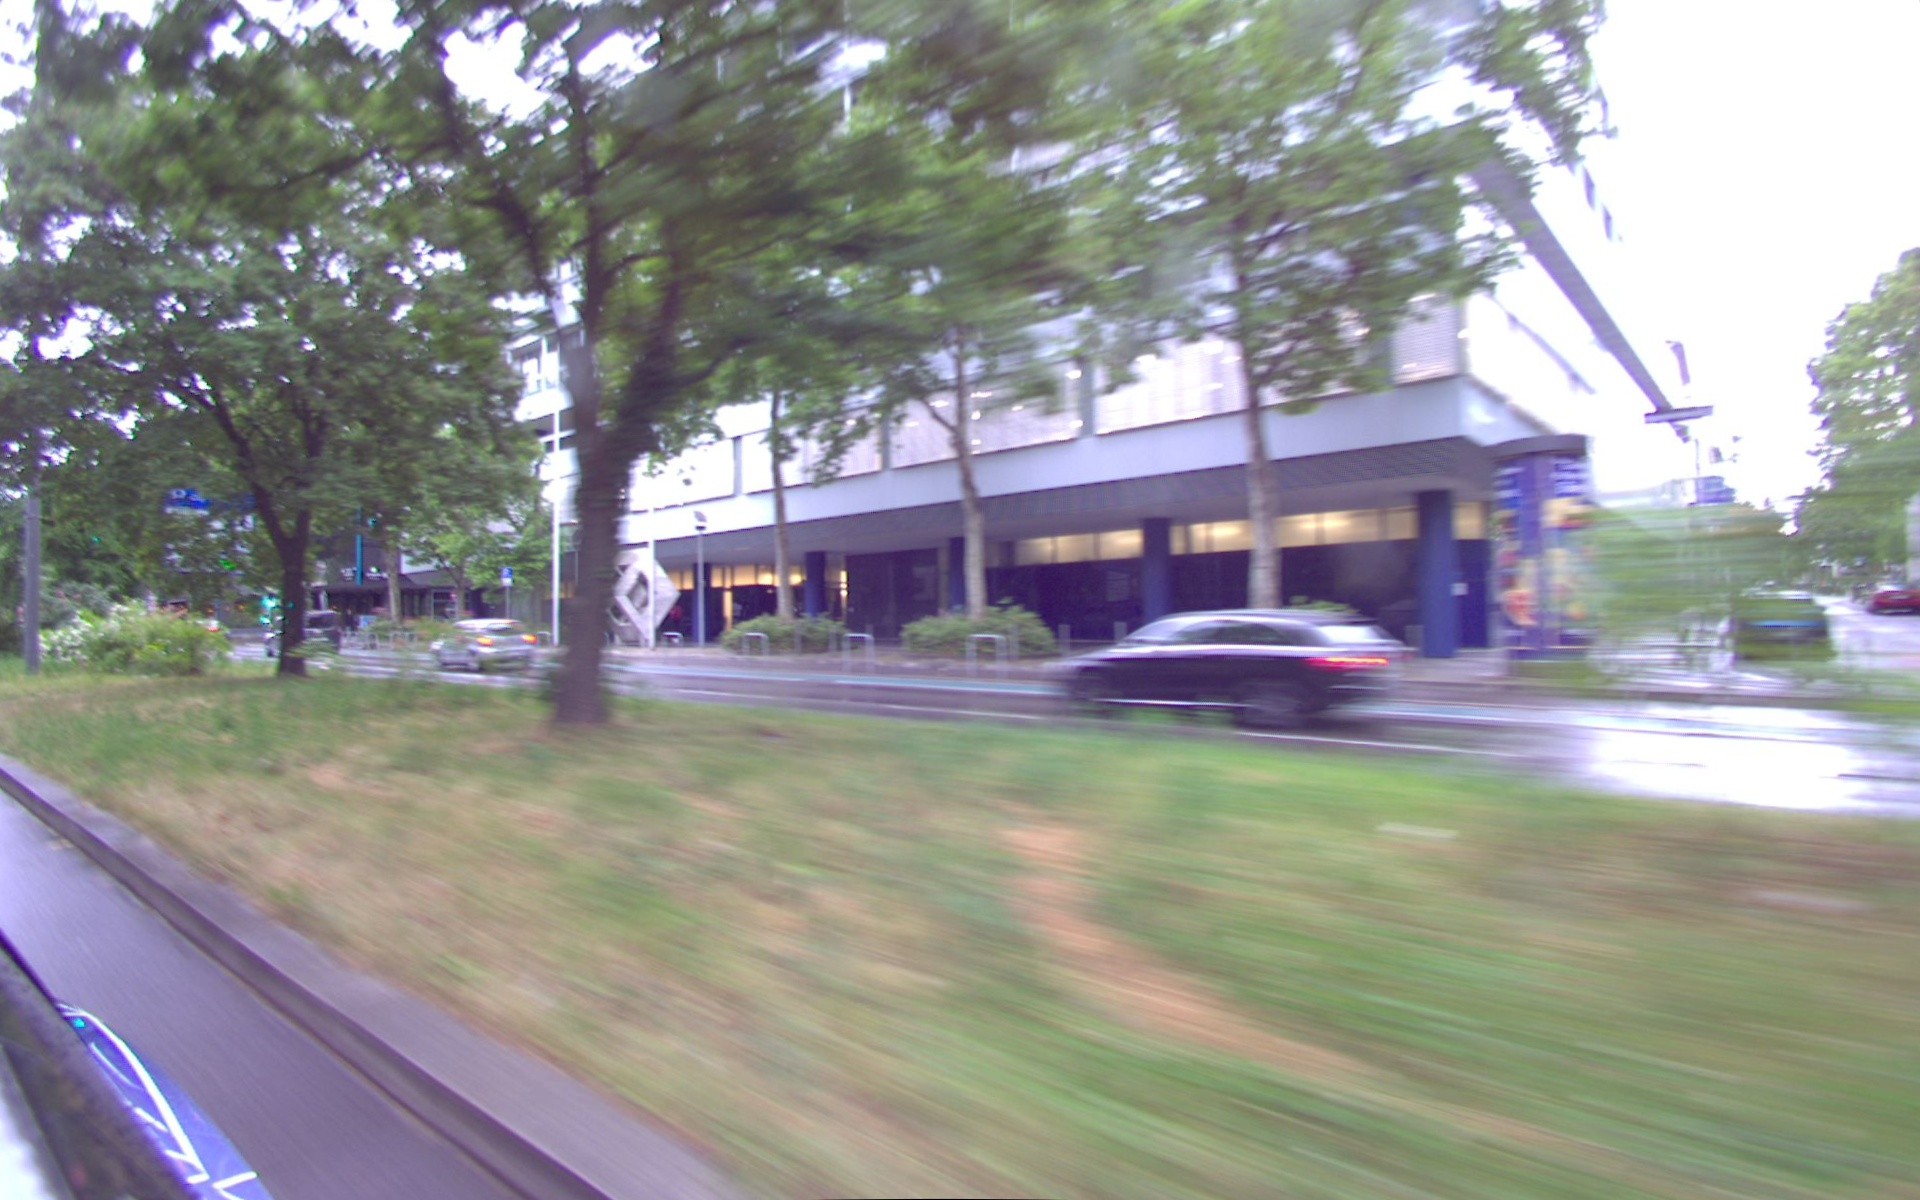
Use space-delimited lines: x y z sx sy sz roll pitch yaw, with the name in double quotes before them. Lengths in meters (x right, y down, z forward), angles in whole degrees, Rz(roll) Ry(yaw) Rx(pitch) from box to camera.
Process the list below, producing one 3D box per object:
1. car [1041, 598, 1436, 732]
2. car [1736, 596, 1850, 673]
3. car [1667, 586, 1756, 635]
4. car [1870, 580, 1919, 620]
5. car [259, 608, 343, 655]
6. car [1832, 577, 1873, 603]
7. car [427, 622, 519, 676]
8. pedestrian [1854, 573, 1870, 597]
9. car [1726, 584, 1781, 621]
"car" 3.589 0.787 13.667 4.754 1.503 1.972 -2 -1 42
"car" 20.730 0.809 25.110 1.999 1.705 4.935 -1 -1 42
"car" 25.566 0.383 34.368 1.999 1.553 4.935 -2 -2 41
"car" 42.169 -0.022 45.075 1.997 1.696 3.950 -2 -1 37
"car" -26.953 1.304 41.352 4.282 1.815 1.971 -2 -2 44
"car" 56.343 -0.614 63.925 1.702 1.581 3.807 -1 0 38
"car" -14.049 1.390 29.115 3.560 1.473 1.148 -2 -2 43
"pedestrian" 63.404 -1.042 71.137 0.556 1.627 0.561 -1 0 -6
"car" 38.910 0.127 49.711 1.997 1.696 3.950 -2 -1 37
